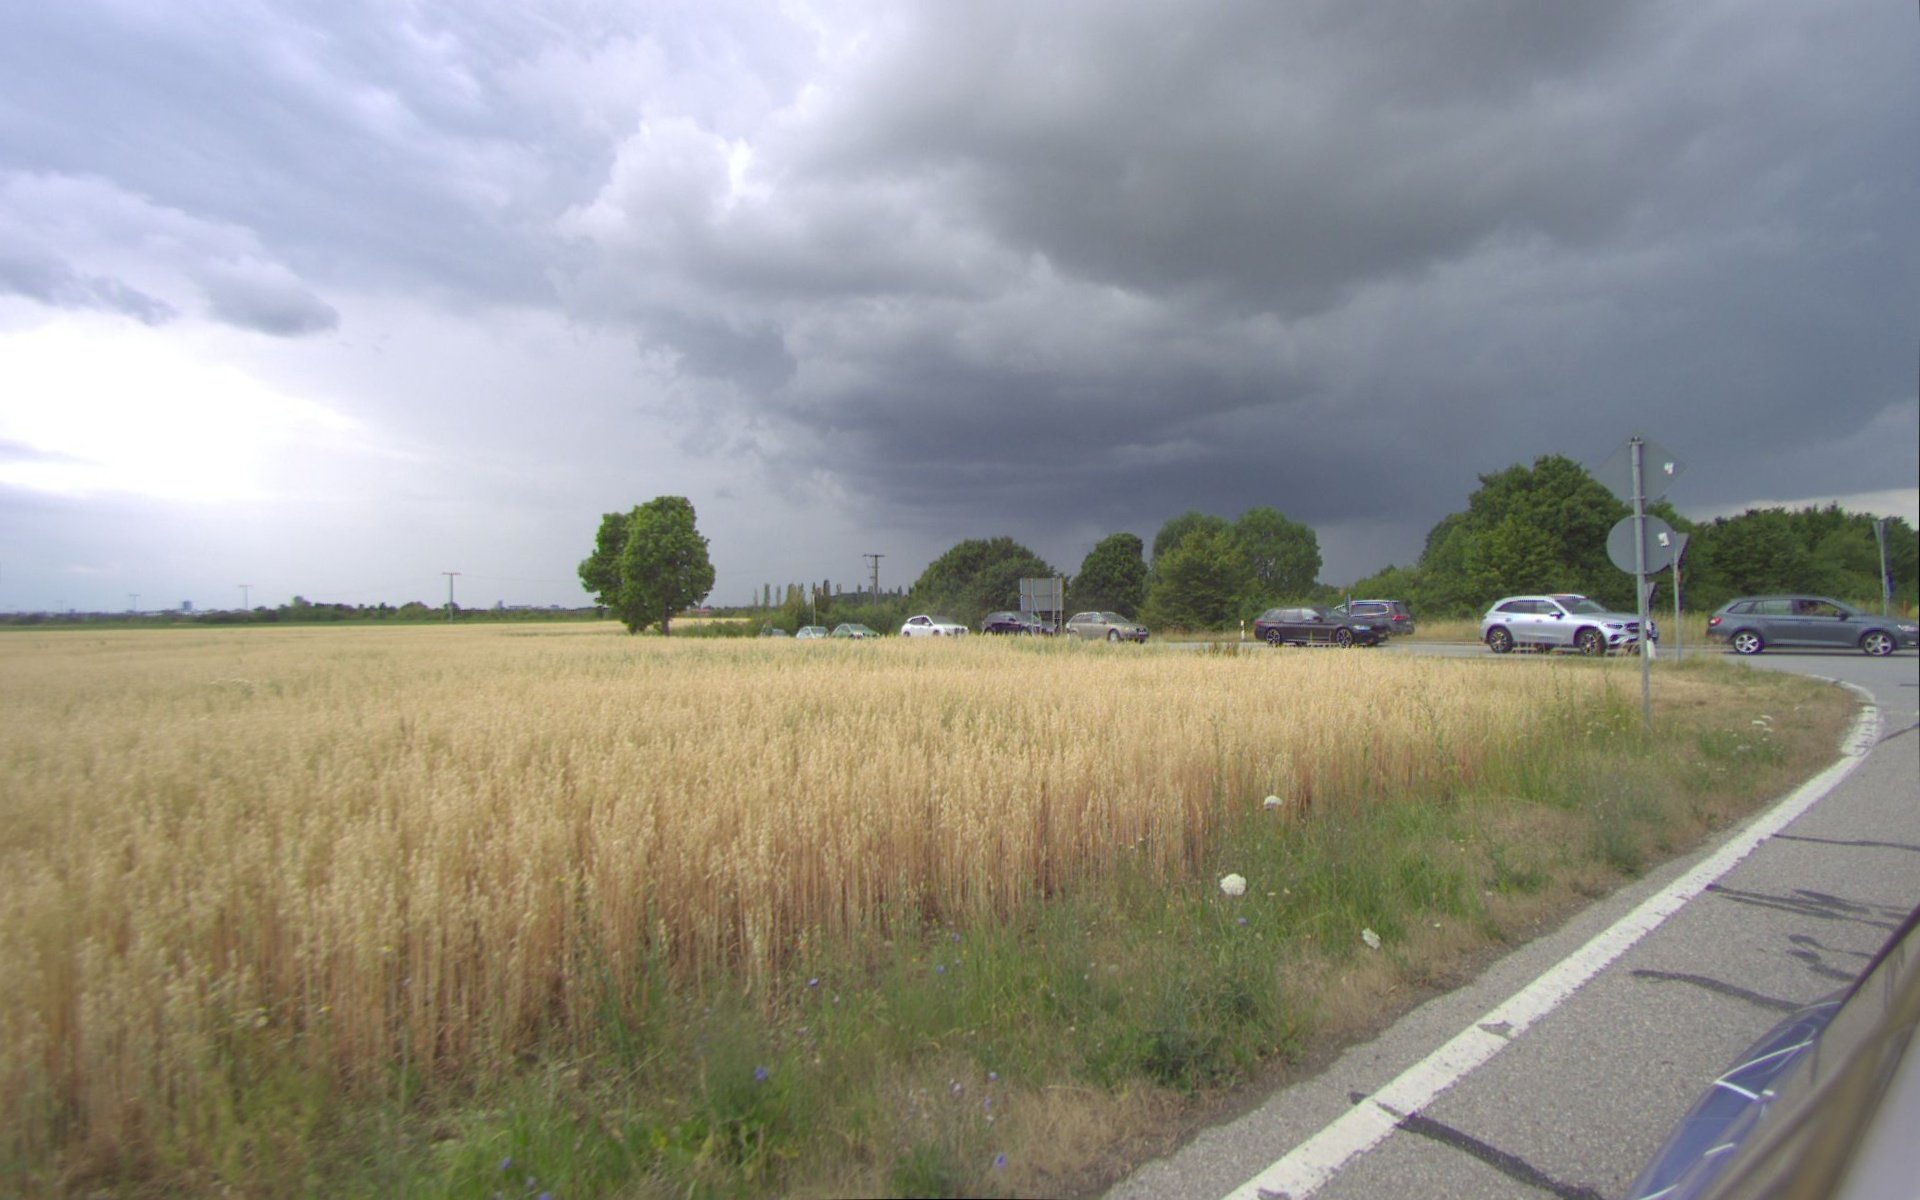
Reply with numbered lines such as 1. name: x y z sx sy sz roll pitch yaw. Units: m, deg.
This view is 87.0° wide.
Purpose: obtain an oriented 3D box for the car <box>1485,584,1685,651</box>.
1. car: 16.996 0.448 27.810 1.956 1.606 4.403 -3 1 -18

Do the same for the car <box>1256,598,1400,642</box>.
1. car: 13.019 0.716 36.067 1.689 1.370 4.696 -3 1 -33

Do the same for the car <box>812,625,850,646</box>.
1. car: -9.953 2.722 77.732 1.735 1.470 4.399 -1 -1 -23

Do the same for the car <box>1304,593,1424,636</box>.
1. car: 16.444 0.543 41.330 1.723 1.679 4.284 0 0 -41

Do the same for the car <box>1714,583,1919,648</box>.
1. car: 21.307 0.378 24.982 4.103 1.465 1.692 -2 0 44

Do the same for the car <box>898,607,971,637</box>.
1. car: -1.481 1.229 56.305 1.690 1.513 4.637 -3 1 -35

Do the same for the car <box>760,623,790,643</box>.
1. car: -13.894 2.487 75.934 1.541 1.363 3.505 -1 0 -23

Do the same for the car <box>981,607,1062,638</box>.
1. car: 3.004 1.129 50.235 1.690 1.370 4.212 -3 1 -35

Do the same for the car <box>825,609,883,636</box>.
1. car: -6.636 1.412 63.180 1.690 1.513 4.212 -3 1 -35

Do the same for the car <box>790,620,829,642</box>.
1. car: -10.267 2.074 69.088 1.542 1.363 3.503 -1 0 -28

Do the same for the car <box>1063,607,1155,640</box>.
1. car: 6.671 1.052 45.706 1.690 1.370 4.212 0 -1 -35

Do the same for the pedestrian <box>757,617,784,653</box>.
1. pedestrian: -8.640 1.583 46.158 0.939 1.632 0.763 -2 -2 37
